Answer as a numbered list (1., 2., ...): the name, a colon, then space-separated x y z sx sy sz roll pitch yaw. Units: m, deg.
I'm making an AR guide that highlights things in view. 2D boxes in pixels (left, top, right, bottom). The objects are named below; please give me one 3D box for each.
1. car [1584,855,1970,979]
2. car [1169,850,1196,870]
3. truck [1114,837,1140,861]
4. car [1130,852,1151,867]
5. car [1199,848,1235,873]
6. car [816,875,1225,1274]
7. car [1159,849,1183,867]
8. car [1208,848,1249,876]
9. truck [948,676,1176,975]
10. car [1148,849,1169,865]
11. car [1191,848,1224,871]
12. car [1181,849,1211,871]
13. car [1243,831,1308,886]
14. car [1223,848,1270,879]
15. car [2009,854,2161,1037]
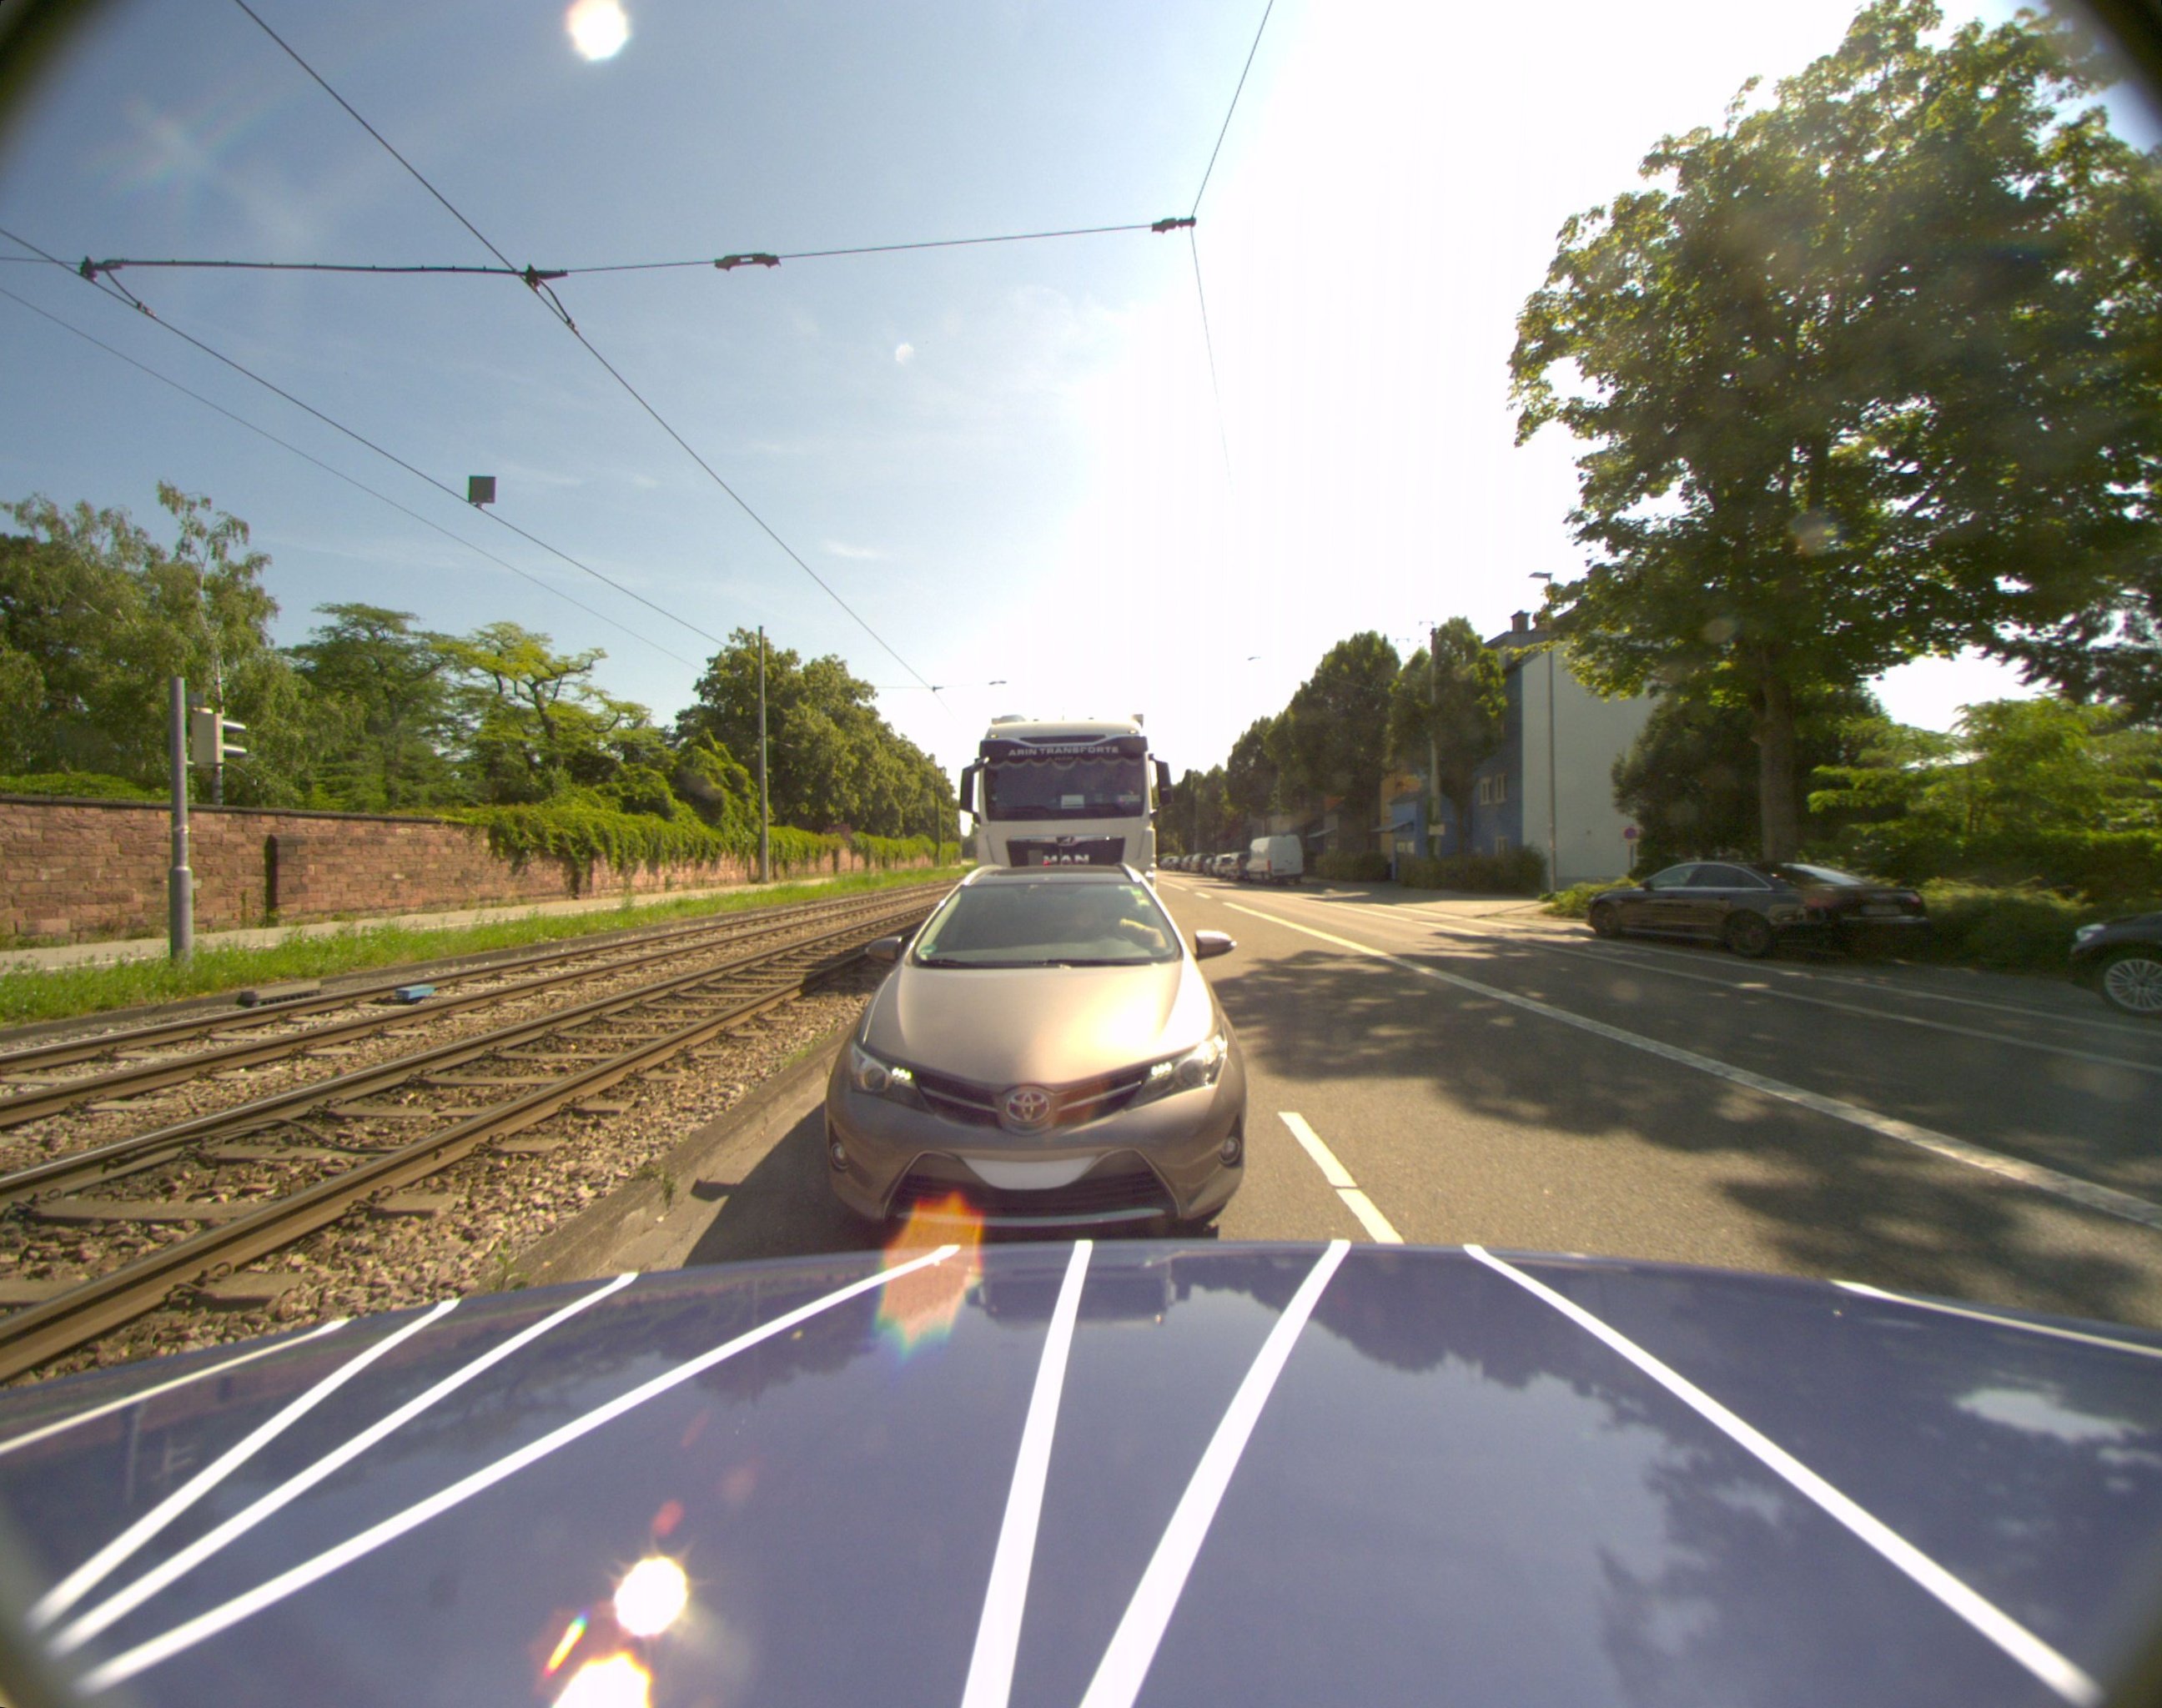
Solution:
1. car: 10.565 0.818 12.166 1.868 1.562 4.621 -1 0 -2
2. car: 10.569 0.626 79.173 1.998 1.795 4.769 -6 0 0
3. truck: 6.979 -0.683 116.113 2.704 3.263 6.724 -6 0 -5
4. car: 8.274 0.789 105.575 1.999 1.795 5.111 -6 0 -4
5. car: 11.221 0.525 62.869 1.998 1.795 4.256 -6 0 0
6. car: -0.207 0.906 4.932 1.573 1.422 4.000 0 0 1
7. car: 10.169 0.477 85.917 1.998 1.795 4.769 -6 0 0
8. car: 11.081 0.571 57.386 1.998 1.795 4.769 -6 0 0
9. truck: -0.152 -0.385 17.258 2.935 3.856 14.912 0 0 1
10. car: 9.867 0.389 96.914 1.998 1.795 4.769 -6 0 0
11. car: 11.218 0.457 67.680 1.998 1.795 4.769 -6 0 0
12. car: 11.020 0.551 73.384 1.998 1.795 4.769 -6 0 0
13. car: 10.912 0.244 43.157 1.998 2.678 6.214 -6 0 2
14. car: 11.139 0.628 51.453 1.998 1.795 4.769 -6 0 0
15. car: 10.570 0.820 5.576 1.868 1.562 4.621 -2 0 0
